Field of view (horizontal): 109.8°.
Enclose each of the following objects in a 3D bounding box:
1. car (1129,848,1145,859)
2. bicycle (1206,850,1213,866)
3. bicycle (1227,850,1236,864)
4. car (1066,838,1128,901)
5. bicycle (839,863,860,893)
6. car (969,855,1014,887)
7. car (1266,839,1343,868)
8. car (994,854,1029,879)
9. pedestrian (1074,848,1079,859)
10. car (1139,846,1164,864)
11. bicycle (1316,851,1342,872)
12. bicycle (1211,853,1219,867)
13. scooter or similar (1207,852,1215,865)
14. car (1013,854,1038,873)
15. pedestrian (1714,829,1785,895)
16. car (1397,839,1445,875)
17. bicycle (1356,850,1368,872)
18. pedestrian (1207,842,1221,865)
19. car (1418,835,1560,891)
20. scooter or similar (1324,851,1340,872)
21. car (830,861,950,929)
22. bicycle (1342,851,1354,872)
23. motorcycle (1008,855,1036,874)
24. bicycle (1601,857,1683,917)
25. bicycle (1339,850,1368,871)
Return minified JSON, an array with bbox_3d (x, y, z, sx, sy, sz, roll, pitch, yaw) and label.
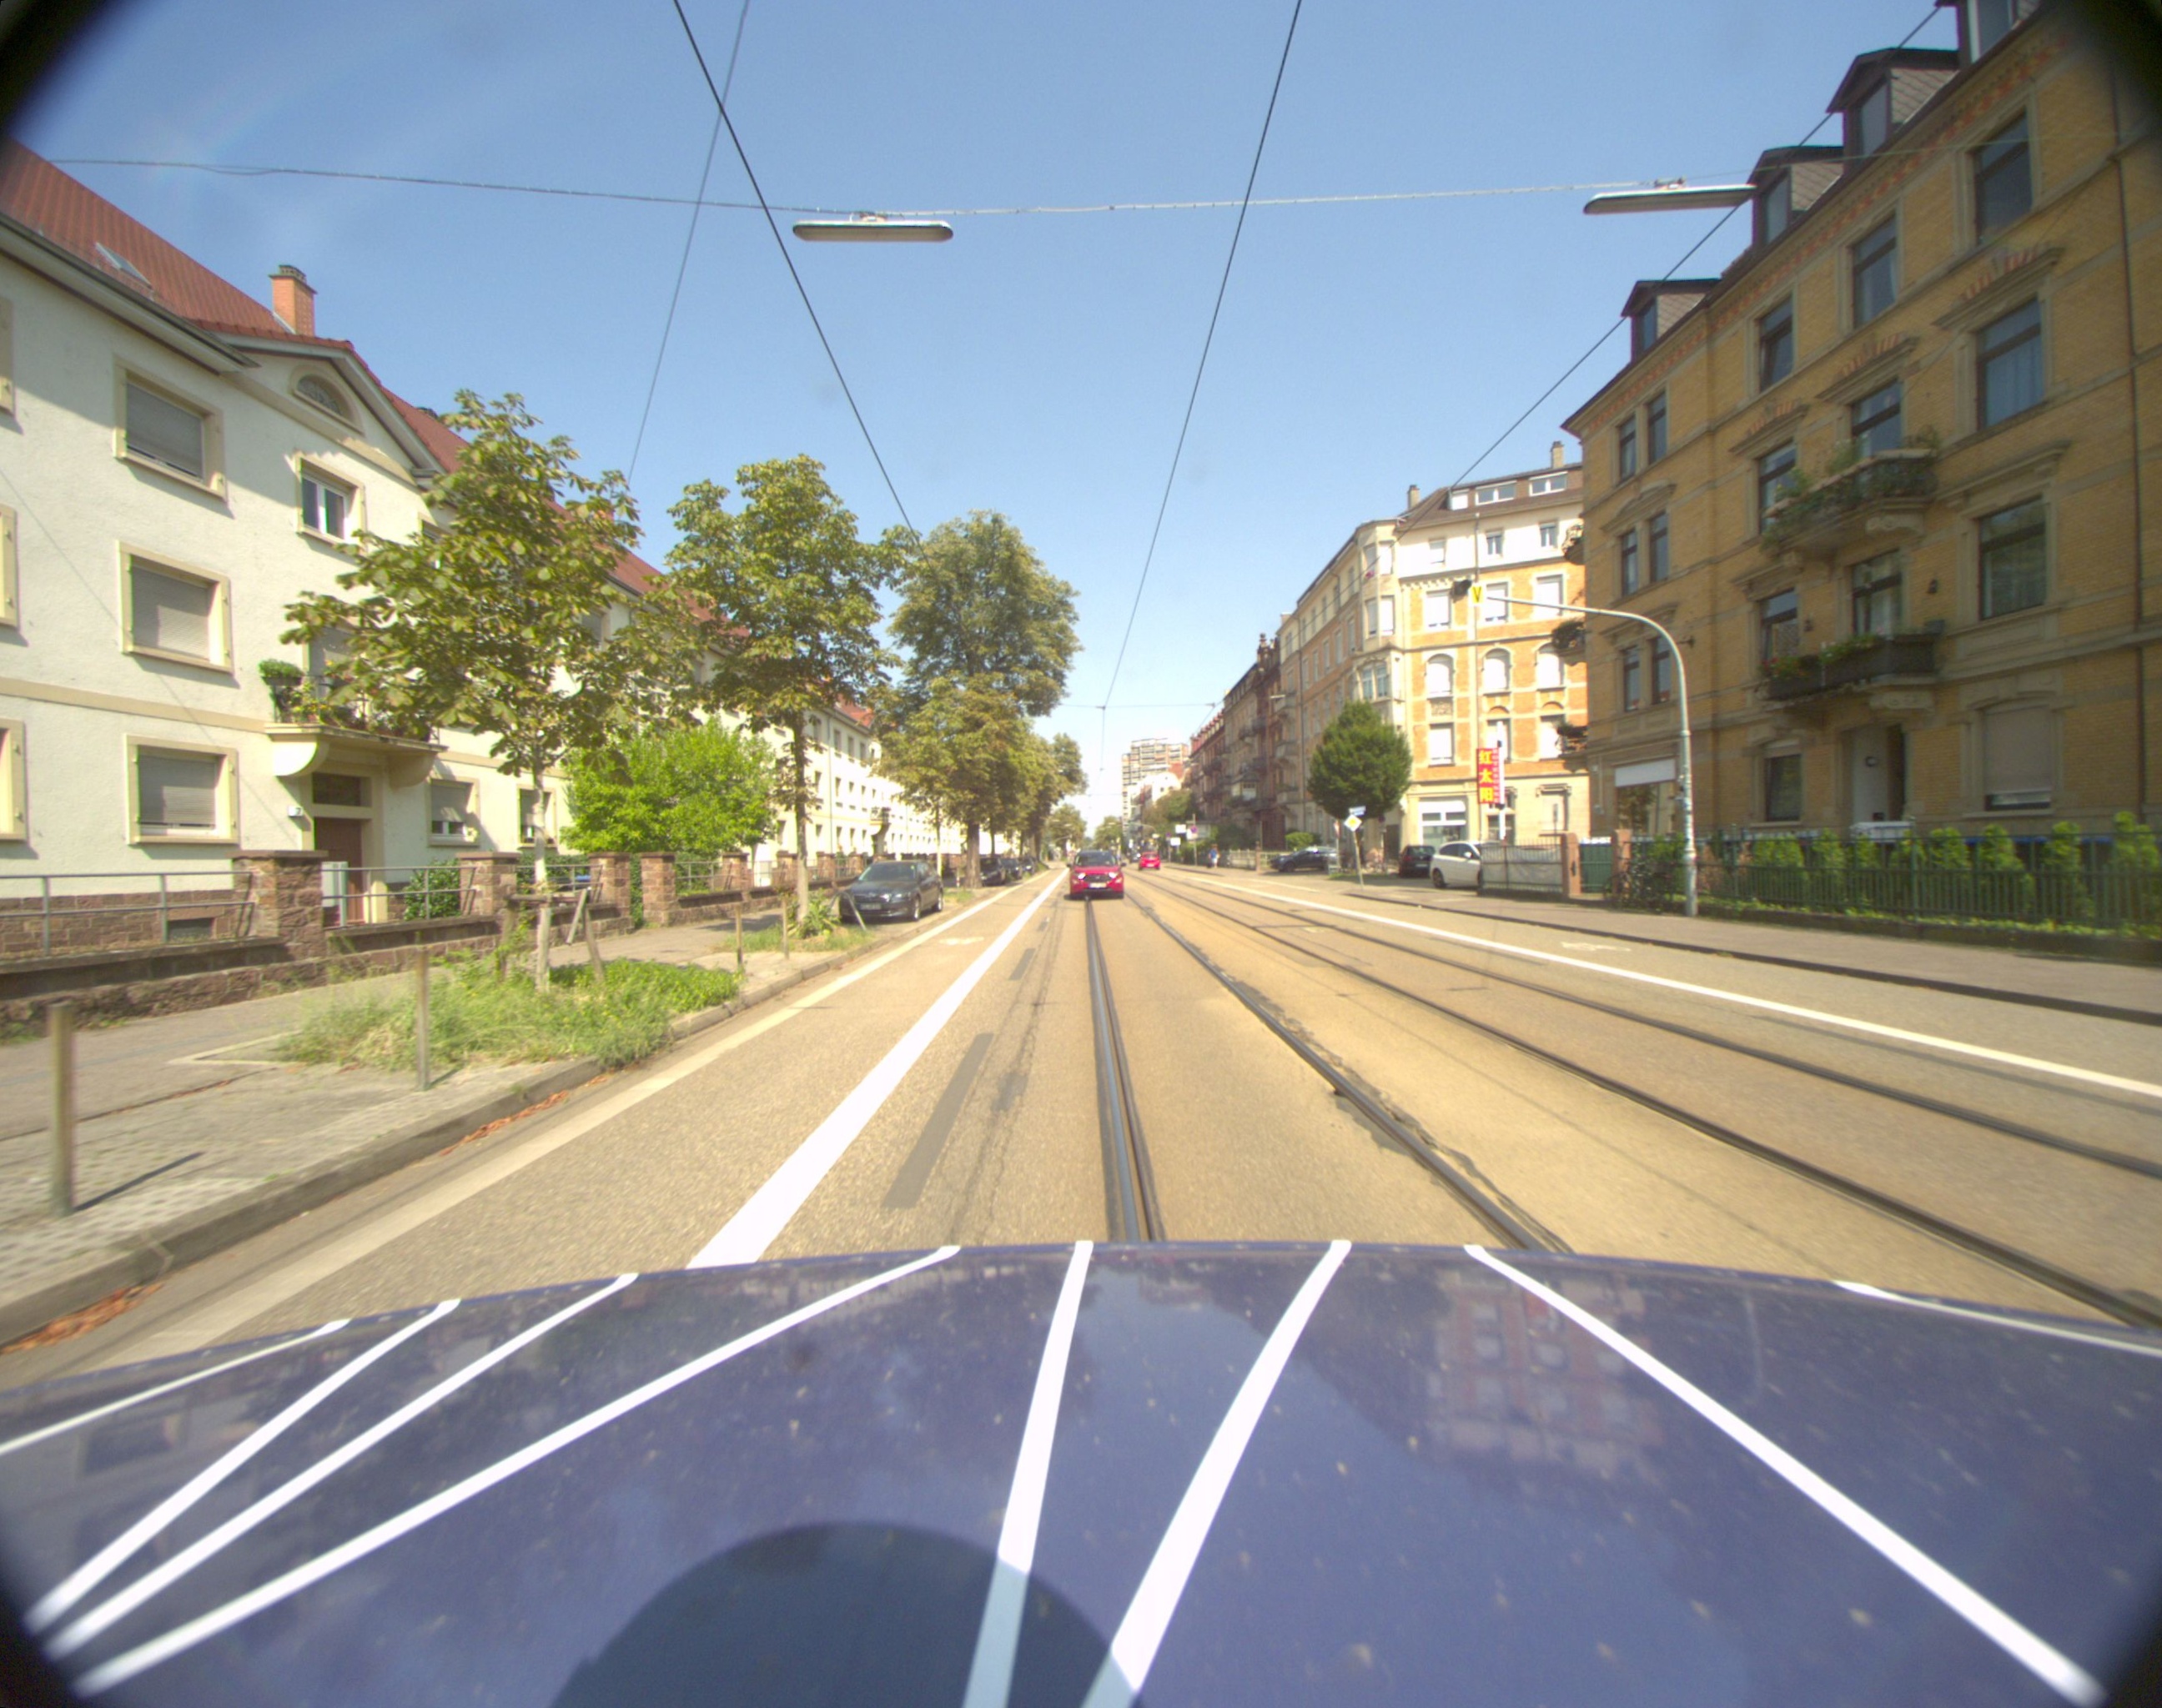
[{"bbox_3d":[7.857,-0.025,106.974,1.832,1.531,4.000,-1,0,0],"label":"car"},{"bbox_3d":[11.271,0.325,66.729,0.391,1.397,1.582,-2,0,1],"label":"bicycle"},{"bbox_3d":[11.285,0.195,57.001,0.391,1.032,1.833,-2,0,1],"label":"bicycle"},{"bbox_3d":[0.527,0.483,24.857,1.803,1.801,4.417,-2,-1,1],"label":"car"},{"bbox_3d":[-9.932,1.007,32.637,0.403,1.250,1.580,-1,0,1],"label":"bicycle"},{"bbox_3d":[-4.454,0.805,38.256,1.760,1.468,4.386,-1,0,-1],"label":"car"},{"bbox_3d":[13.580,-0.022,46.330,4.111,1.585,1.879,-2,0,2],"label":"car"},{"bbox_3d":[-4.467,0.775,49.184,1.760,1.469,4.457,2,1,0],"label":"car"},{"bbox_3d":[-0.774,-0.083,132.592,0.676,1.874,0.921,-1,0,-19],"label":"pedestrian"},{"bbox_3d":[6.010,0.111,65.305,1.736,1.481,4.000,-1,0,0],"label":"car"},{"bbox_3d":[13.617,0.388,41.729,1.453,1.092,0.390,-2,0,-22],"label":"bicycle"},{"bbox_3d":[11.121,0.525,62.999,0.391,1.141,1.582,-2,0,1],"label":"bicycle"},{"bbox_3d":[10.225,0.340,59.904,0.401,0.977,0.584,-3,1,-8],"label":"scooter or similar"},{"bbox_3d":[-4.337,0.738,60.059,1.621,1.468,4.039,0,0,0],"label":"car"},{"bbox_3d":[15.821,0.191,18.004,0.870,1.502,0.885,-1,1,-8],"label":"pedestrian"},{"bbox_3d":[17.285,0.132,38.752,1.995,1.679,4.366,-1,0,21],"label":"car"},{"bbox_3d":[14.789,0.358,39.962,0.389,1.092,1.454,-2,0,26],"label":"bicycle"},{"bbox_3d":[10.442,-0.018,59.537,0.885,1.746,0.870,-1,1,0],"label":"pedestrian"},{"bbox_3d":[12.857,0.247,24.281,1.999,1.585,4.358,-1,0,-3],"label":"car"},{"bbox_3d":[13.327,0.384,40.391,0.597,1.092,1.390,-2,0,10],"label":"scooter or similar"},{"bbox_3d":[-4.813,0.961,19.885,1.897,1.468,4.840,-1,0,0],"label":"car"},{"bbox_3d":[14.181,0.396,40.340,0.389,1.092,1.454,-2,0,26],"label":"bicycle"},{"bbox_3d":[-4.332,0.767,56.017,2.009,1.360,0.782,-1,1,-3],"label":"motorcycle"},{"bbox_3d":[10.935,0.614,14.862,0.391,1.092,1.568,-2,0,-2],"label":"bicycle"},{"bbox_3d":[15.091,0.351,42.121,1.449,1.092,0.391,-2,0,11],"label":"bicycle"}]
